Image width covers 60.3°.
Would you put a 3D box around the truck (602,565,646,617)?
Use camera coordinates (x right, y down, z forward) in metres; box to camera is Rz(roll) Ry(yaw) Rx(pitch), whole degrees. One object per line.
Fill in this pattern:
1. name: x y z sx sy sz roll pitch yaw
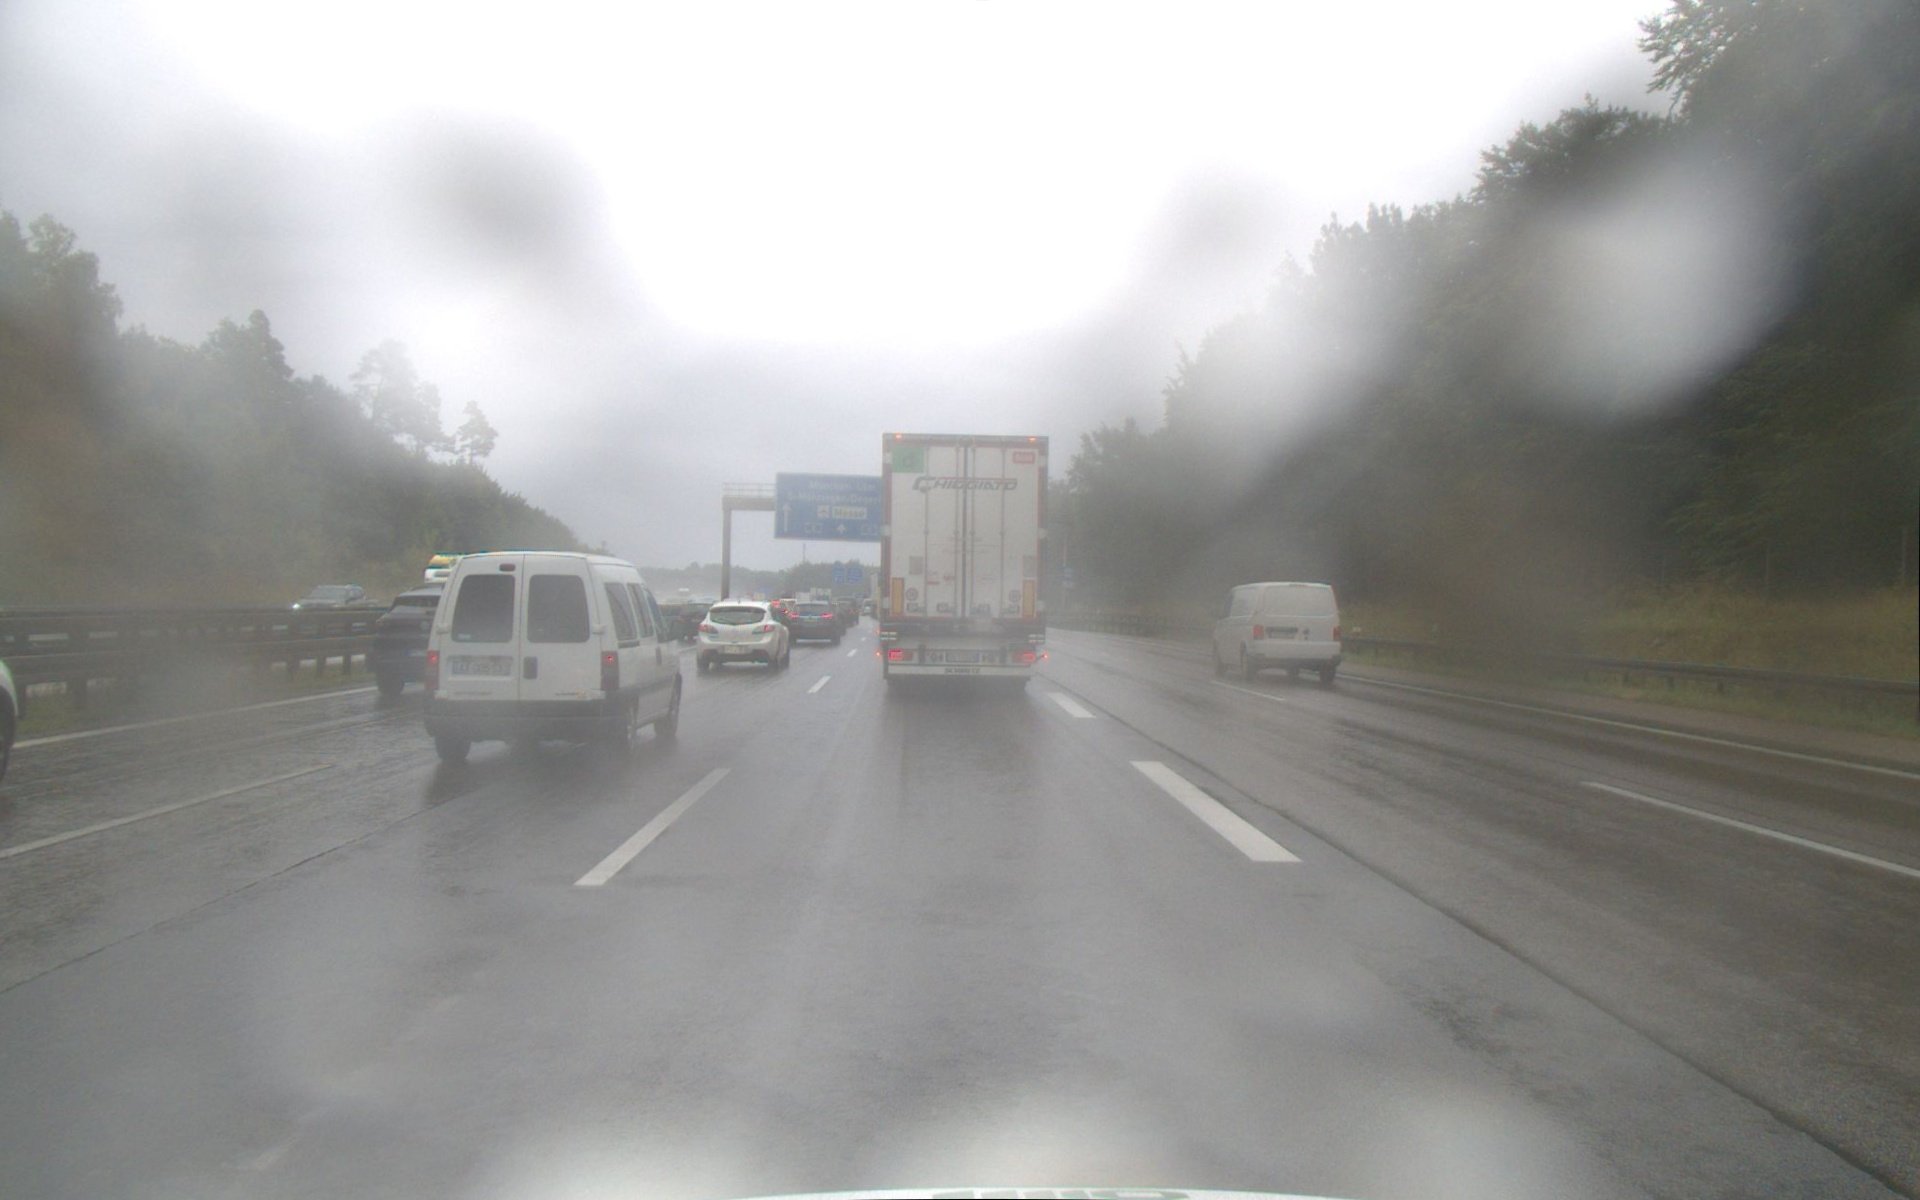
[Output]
1. truck: -27.587 -0.708 135.881 2.489 4.096 6.321 1 0 -3

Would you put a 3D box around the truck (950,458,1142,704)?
1. truck: 1.376 -0.257 30.359 2.813 3.624 11.303 1 0 1

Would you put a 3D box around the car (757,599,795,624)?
1. car: -10.586 0.654 95.278 1.808 1.354 4.465 1 0 -2

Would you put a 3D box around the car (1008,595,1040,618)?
1. car: 3.986 0.392 103.630 1.754 1.432 4.227 1 0 -1

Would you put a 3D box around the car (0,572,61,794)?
1. car: -7.859 0.603 10.591 1.808 1.619 4.465 1 0 -1

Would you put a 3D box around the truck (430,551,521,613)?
1. truck: -29.598 -1.035 101.496 2.468 3.544 11.715 1 0 -2

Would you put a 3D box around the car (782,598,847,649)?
1. car: -4.974 0.785 57.093 1.807 1.619 4.467 1 0 0

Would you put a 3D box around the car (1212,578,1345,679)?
1. car: 6.576 0.540 34.659 1.949 1.954 4.768 1 0 1

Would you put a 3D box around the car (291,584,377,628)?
1. car: -23.873 0.213 63.242 1.808 1.607 3.999 1 0 -1

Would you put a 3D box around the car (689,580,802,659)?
1. car: -4.651 0.394 36.412 1.807 1.619 4.073 1 0 2

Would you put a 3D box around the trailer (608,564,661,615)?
1. trailer: -27.961 -0.873 142.658 2.490 4.096 13.841 1 0 -3

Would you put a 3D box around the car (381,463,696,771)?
1. car: -4.020 0.134 16.737 2.169 2.618 5.012 1 0 -4

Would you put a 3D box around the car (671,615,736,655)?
1. car: -9.437 1.271 61.198 1.808 1.354 4.465 1 0 -2

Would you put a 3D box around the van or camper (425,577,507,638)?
1. van or camper: -25.007 0.380 84.066 2.123 2.920 7.997 1 0 -3

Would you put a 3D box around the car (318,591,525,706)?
1. car: -8.304 0.685 25.941 1.808 1.619 4.466 1 0 -1

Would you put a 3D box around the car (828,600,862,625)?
1. car: -6.755 0.709 97.628 1.808 1.354 4.465 1 0 -2
